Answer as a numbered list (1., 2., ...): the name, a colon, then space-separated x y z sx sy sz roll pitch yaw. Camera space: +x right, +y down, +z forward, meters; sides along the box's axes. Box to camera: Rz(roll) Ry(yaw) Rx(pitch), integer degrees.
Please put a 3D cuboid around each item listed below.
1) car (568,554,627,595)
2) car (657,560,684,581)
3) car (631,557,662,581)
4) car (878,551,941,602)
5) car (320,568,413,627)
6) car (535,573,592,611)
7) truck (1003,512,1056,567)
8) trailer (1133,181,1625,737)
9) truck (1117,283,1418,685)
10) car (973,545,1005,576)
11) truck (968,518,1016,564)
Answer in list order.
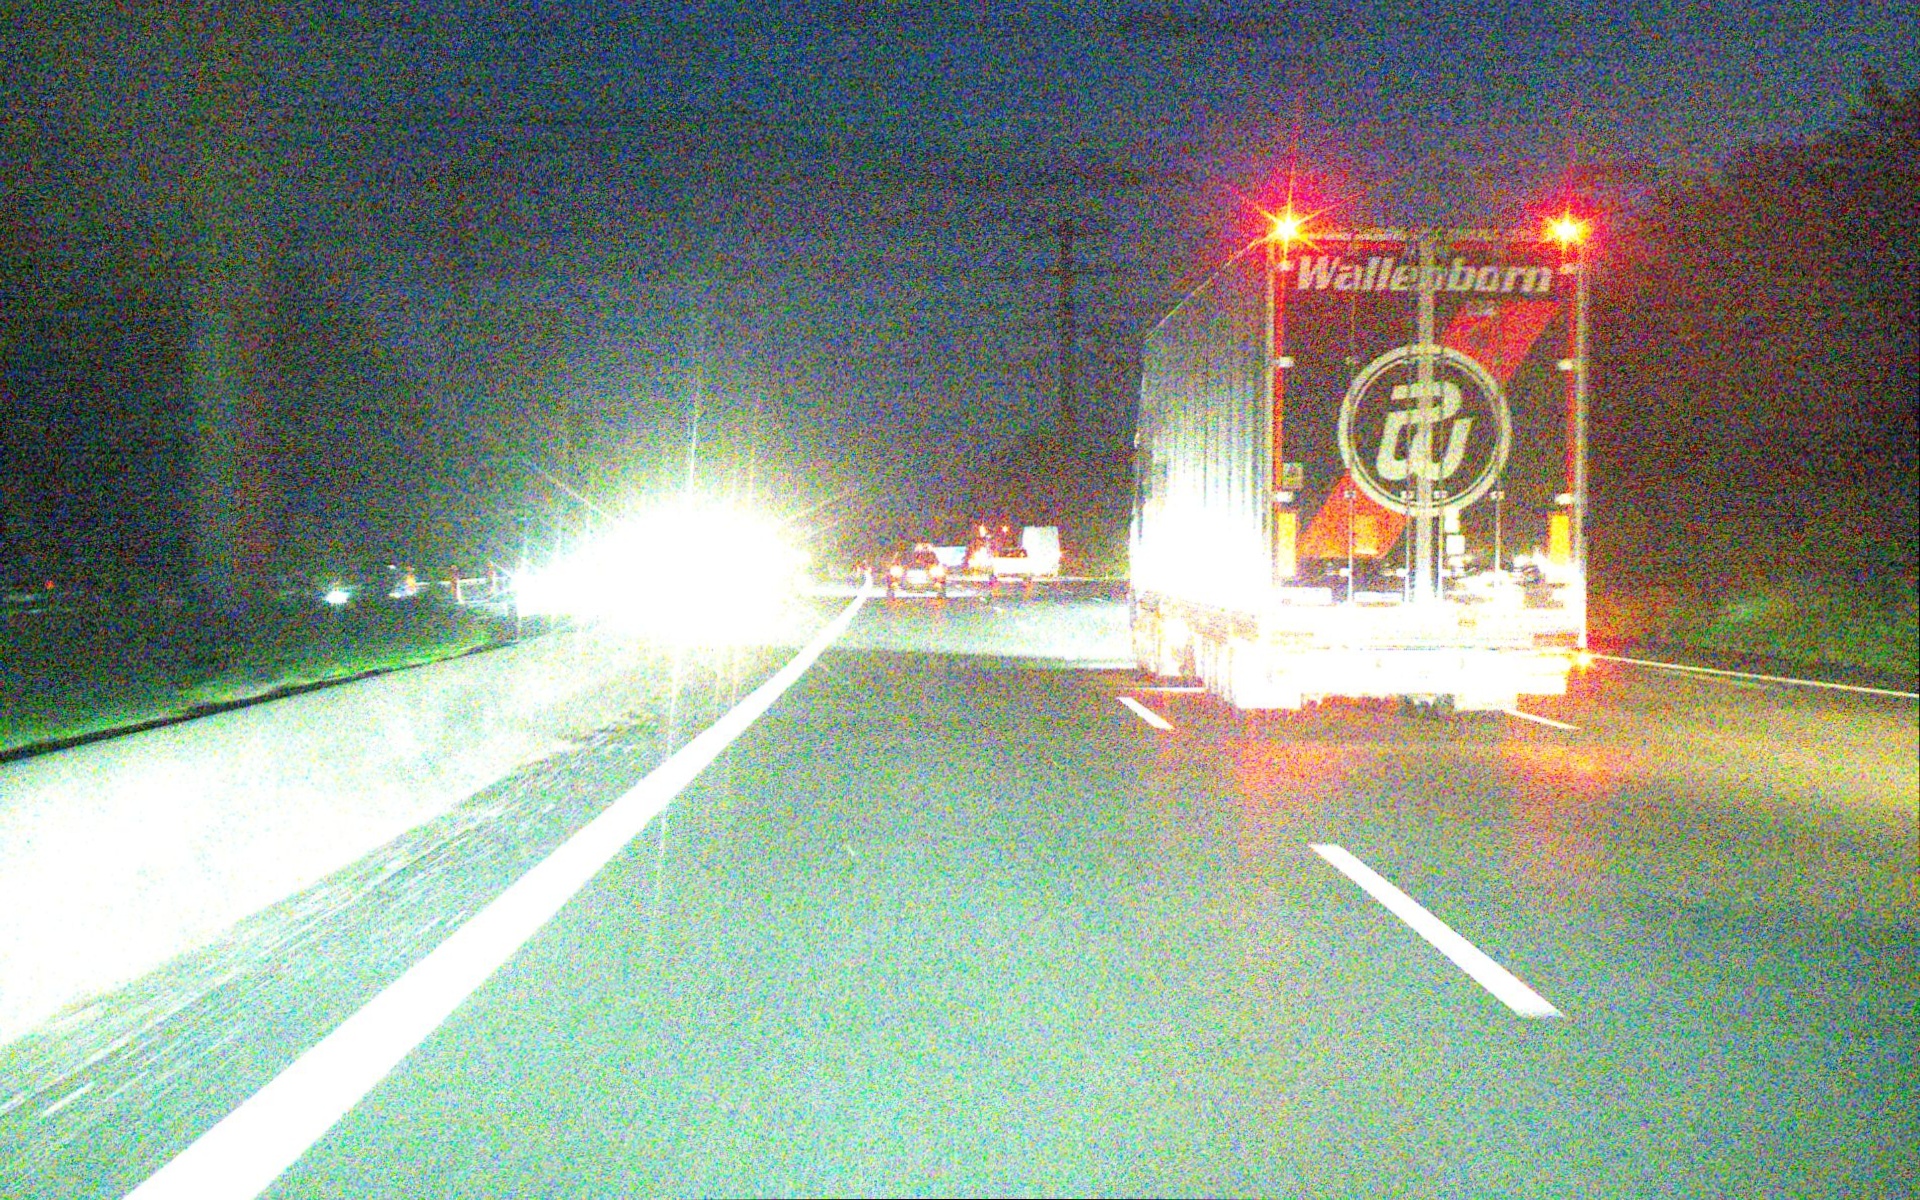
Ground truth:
1. car: -13.770 -0.993 130.838 1.750 1.473 4.763 -2 1 -1
2. car: -20.433 -2.097 242.971 1.631 1.389 4.878 -2 1 -2
3. car: -19.050 -1.896 209.136 1.661 1.329 4.810 -2 1 -3
4. car: -1.545 -0.724 103.959 1.821 1.461 4.248 1 1 -2
5. car: -16.203 -0.094 94.032 1.750 1.473 4.943 -2 1 -1
6. car: -16.300 -0.348 141.549 1.750 1.473 4.482 -2 1 0
7. truck: 3.580 -3.116 178.254 2.076 2.682 7.309 1 0 -4
8. trailer: 3.539 -1.167 33.014 2.742 4.192 13.511 1 1 -1
9. truck: 3.403 -1.270 39.711 2.661 4.192 6.723 1 1 -1
10. car: 1.329 -1.826 159.159 1.346 1.382 3.502 1 1 -2
11. truck: 2.309 -4.331 253.742 3.044 3.313 10.143 1 1 -2
